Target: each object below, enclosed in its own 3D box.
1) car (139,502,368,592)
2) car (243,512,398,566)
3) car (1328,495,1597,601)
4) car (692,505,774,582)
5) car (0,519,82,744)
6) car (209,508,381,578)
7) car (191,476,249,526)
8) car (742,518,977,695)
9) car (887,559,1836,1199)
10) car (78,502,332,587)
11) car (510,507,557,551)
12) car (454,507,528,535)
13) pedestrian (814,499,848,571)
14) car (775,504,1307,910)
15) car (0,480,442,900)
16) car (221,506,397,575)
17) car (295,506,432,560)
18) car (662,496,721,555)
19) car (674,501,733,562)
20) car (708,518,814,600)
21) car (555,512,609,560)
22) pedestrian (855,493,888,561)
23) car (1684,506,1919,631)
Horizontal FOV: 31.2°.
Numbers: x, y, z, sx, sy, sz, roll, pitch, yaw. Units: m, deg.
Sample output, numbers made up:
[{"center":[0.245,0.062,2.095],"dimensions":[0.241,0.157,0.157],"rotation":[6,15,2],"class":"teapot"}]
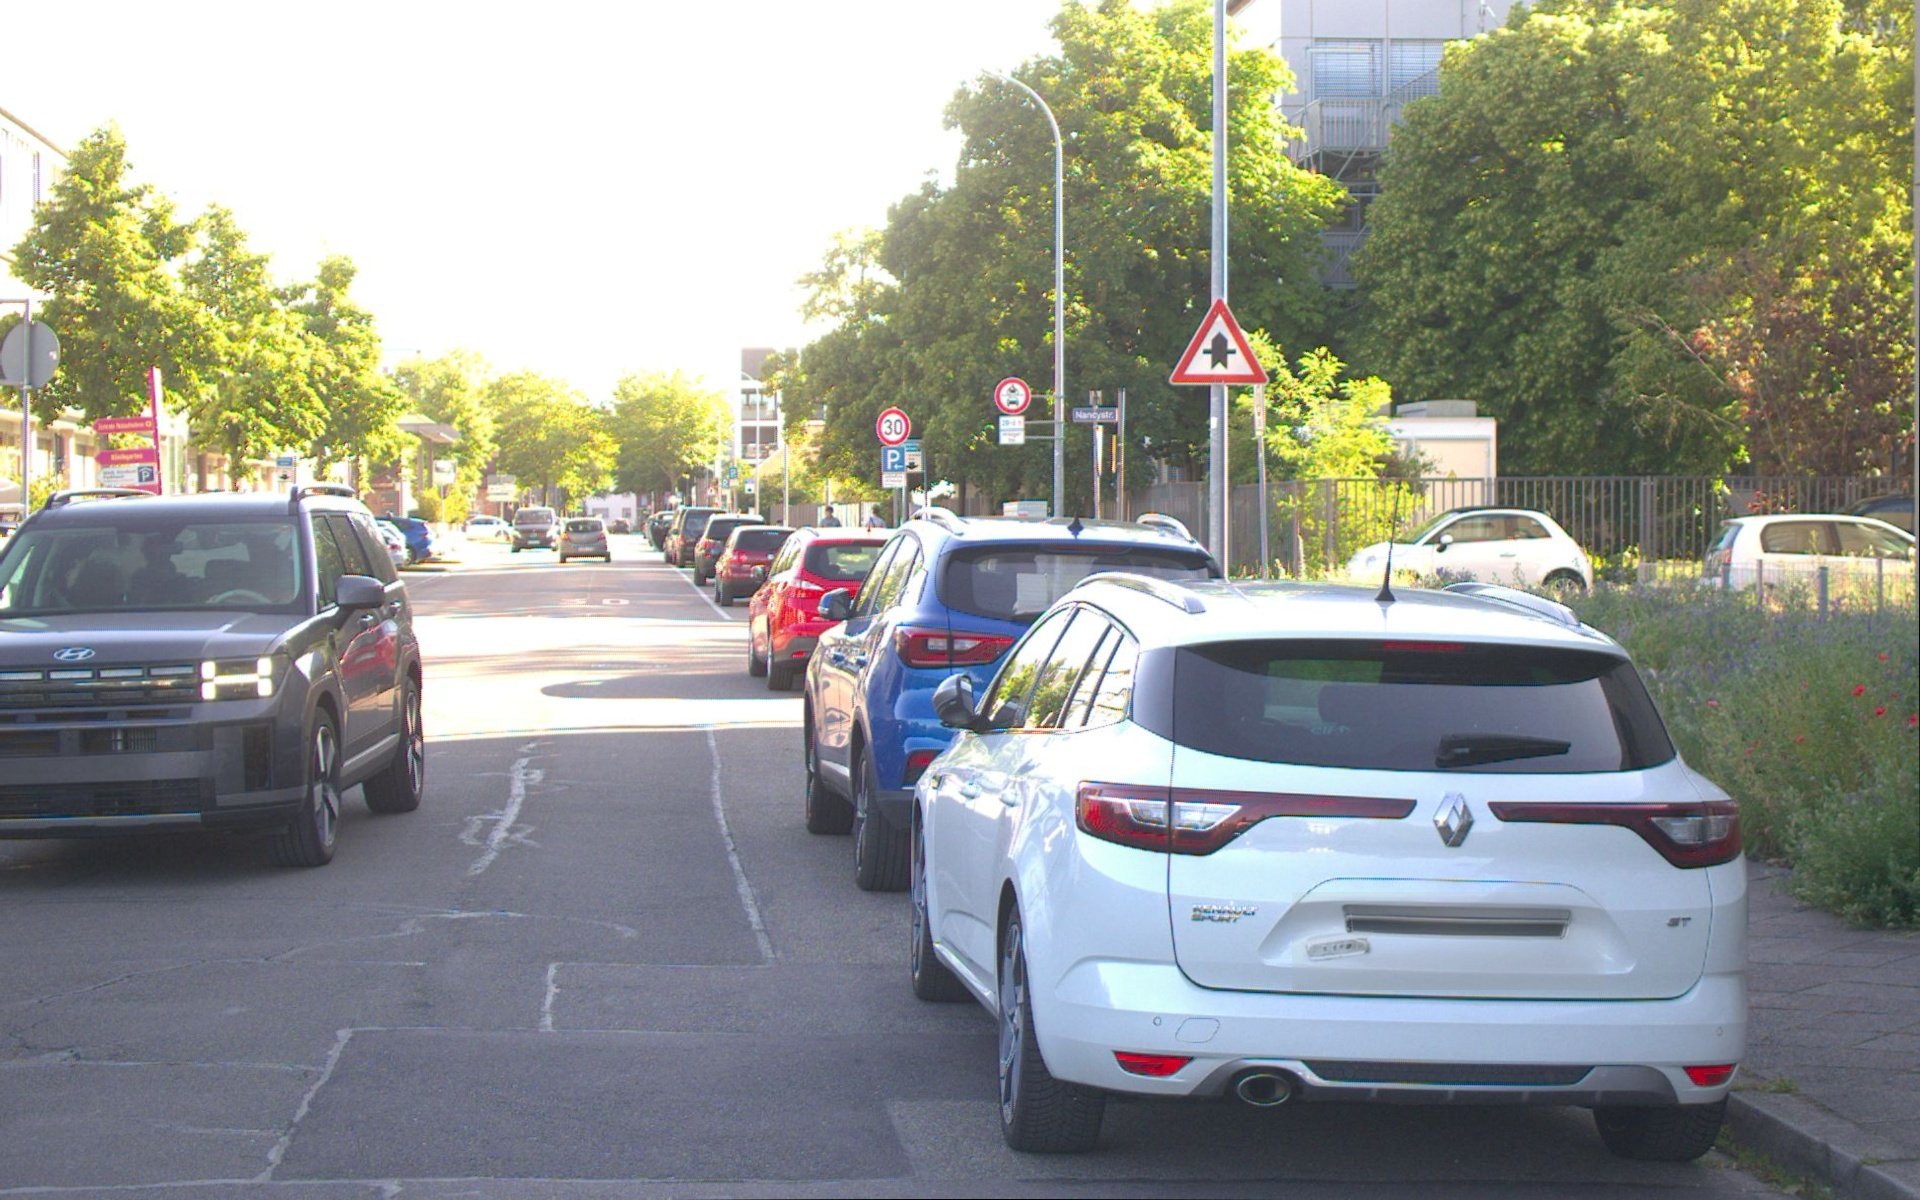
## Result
[{"center":[-15.566,-1.171,75.932],"dimensions":[4.741,1.858,1.828],"rotation":[1,2,-5],"class":"car"},{"center":[-17.006,-1.626,91.522],"dimensions":[3.986,1.354,1.744],"rotation":[1,1,-9],"class":"car"},{"center":[7.177,-0.755,49.297],"dimensions":[3.546,1.481,1.601],"rotation":[0,1,-5],"class":"car"},{"center":[-5.353,-1.359,80.655],"dimensions":[1.812,1.660,4.593],"rotation":[1,2,-5],"class":"car"},{"center":[-7.491,0.170,24.544],"dimensions":[1.695,1.508,4.518],"rotation":[2,1,-6],"class":"car"},{"center":[-15.977,-1.375,82.786],"dimensions":[3.986,1.601,1.873],"rotation":[1,1,-9],"class":"car"},{"center":[-31.445,-4.199,146.120],"dimensions":[1.993,2.007,4.001],"rotation":[0,0,-6],"class":"car"},{"center":[-1.020,0.007,32.363],"dimensions":[1.818,1.494,4.453],"rotation":[1,1,-6],"class":"car"},{"center":[0.839,0.649,9.809],"dimensions":[1.744,1.424,4.587],"rotation":[1,1,-5],"class":"car"},{"center":[-14.800,-1.095,67.544],"dimensions":[4.611,1.645,1.868],"rotation":[0,1,-2],"class":"car"},{"center":[-18.147,-3.031,146.364],"dimensions":[1.954,1.861,5.256],"rotation":[0,1,-7],"class":"car"},{"center":[-26.142,-4.405,191.681],"dimensions":[3.986,1.514,2.000],"rotation":[0,0,-5],"class":"car"},{"center":[-3.181,-1.603,84.634],"dimensions":[0.717,1.752,0.885],"rotation":[-3,2,-5],"class":"pedestrian"},{"center":[0.209,0.376,16.098],"dimensions":[1.816,1.594,4.629],"rotation":[1,1,-7],"class":"car"},{"center":[-3.829,0.326,16.796],"dimensions":[1.942,1.721,4.839],"rotation":[-2,2,-2],"class":"car"},{"center":[-16.201,-1.488,85.732],"dimensions":[4.245,1.606,2.049],"rotation":[1,1,-9],"class":"car"},{"center":[-18.792,-2.103,108.386],"dimensions":[4.213,1.597,1.873],"rotation":[1,1,-9],"class":"car"},{"center":[-9.221,-2.564,117.897],"dimensions":[1.874,1.971,4.001],"rotation":[-1,2,-6],"class":"car"},{"center":[-7.894,-2.113,105.483],"dimensions":[1.732,1.824,3.906],"rotation":[0,1,-5],"class":"car"},{"center":[-3.782,-0.799,64.696],"dimensions":[1.719,1.450,4.653],"rotation":[1,1,-6],"class":"car"},{"center":[-12.480,-2.116,113.615],"dimensions":[1.743,1.538,4.001],"rotation":[0,1,-6],"class":"car"},{"center":[-2.183,-1.796,84.891],"dimensions":[0.698,1.655,0.752],"rotation":[-2,2,-6],"class":"pedestrian"},{"center":[10.561,-0.392,41.371],"dimensions":[3.326,1.453,1.715],"rotation":[0,1,-1],"class":"car"}]
